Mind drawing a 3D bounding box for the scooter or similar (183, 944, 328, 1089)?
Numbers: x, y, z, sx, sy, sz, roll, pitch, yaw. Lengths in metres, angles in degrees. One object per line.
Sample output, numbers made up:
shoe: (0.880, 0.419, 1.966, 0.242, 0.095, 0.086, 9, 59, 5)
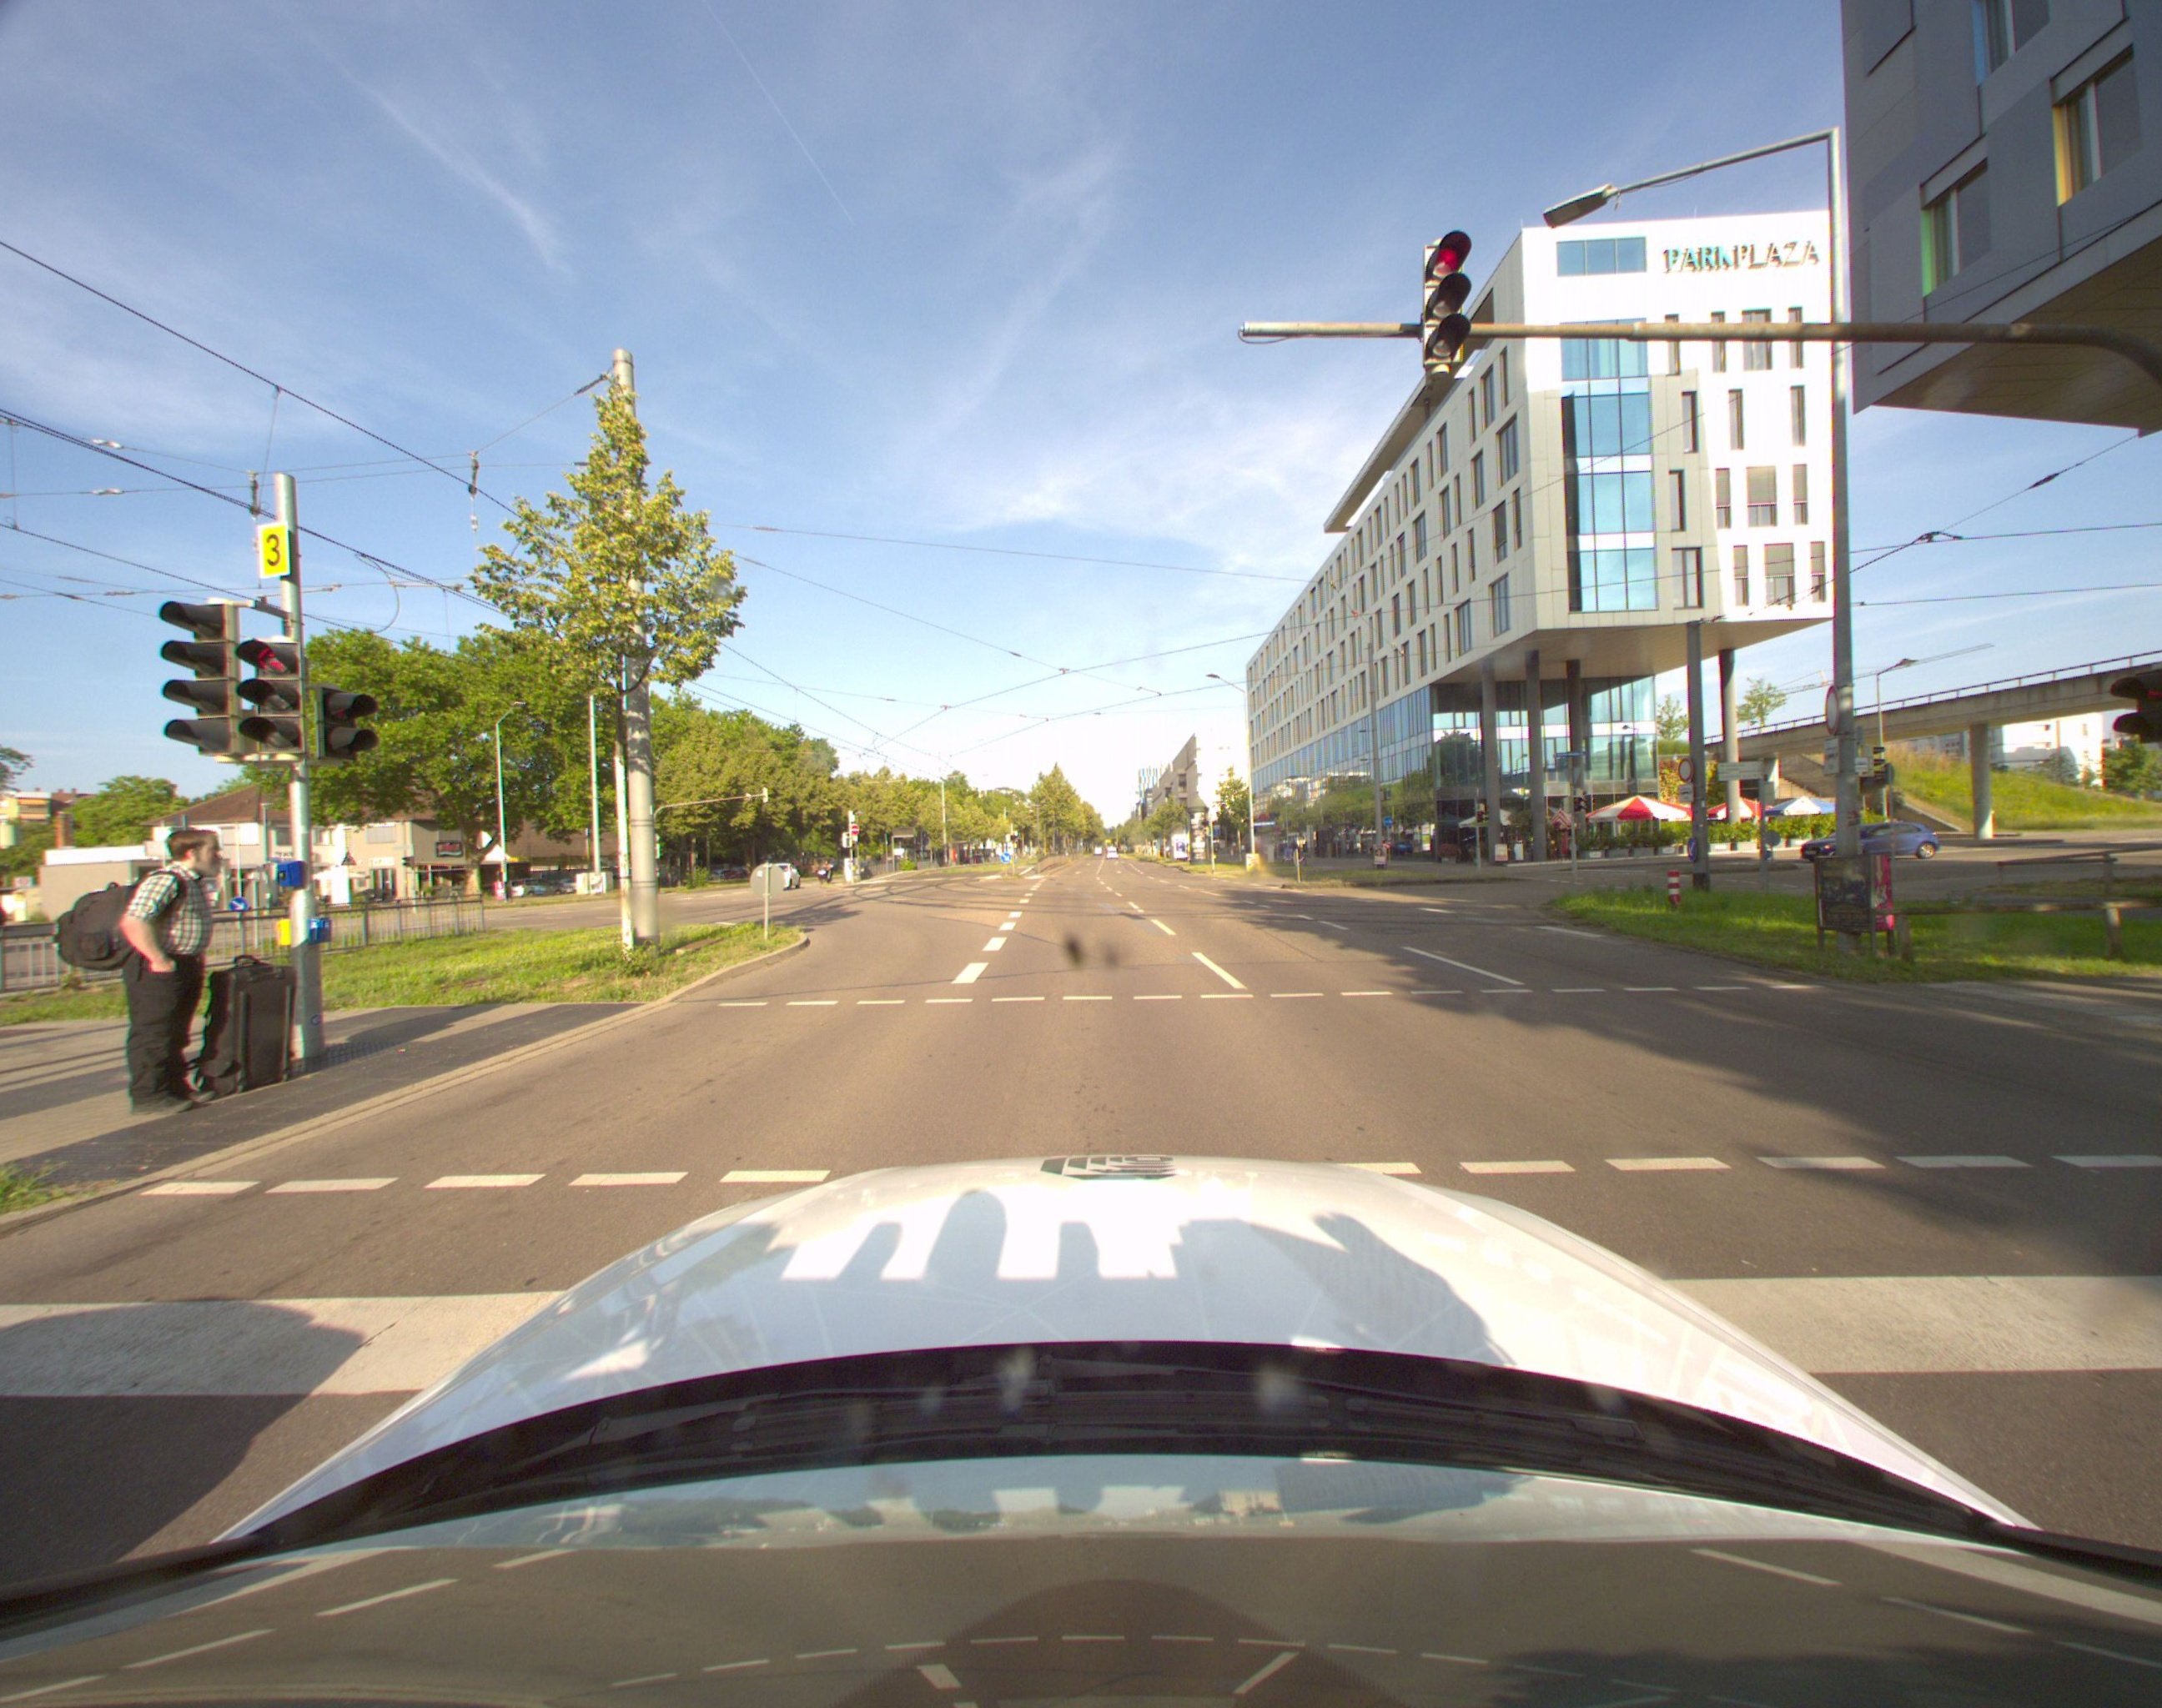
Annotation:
scooter or similar: (-5.660, 1.098, 5.605, 0.546, 0.907, 0.430, -1, 0, 2)

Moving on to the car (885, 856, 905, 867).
car: (-29.710, 1.166, 130.089, 1.871, 1.559, 4.008, -2, 0, 7)

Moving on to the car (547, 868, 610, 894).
car: (-37.714, 1.997, 61.273, 1.871, 1.750, 4.008, -2, 0, 7)

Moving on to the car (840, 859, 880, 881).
car: (-17.224, 1.223, 63.740, 1.723, 1.461, 4.576, -4, 0, 1)

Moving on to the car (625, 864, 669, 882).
car: (-43.786, 1.894, 82.232, 1.871, 1.559, 4.008, -2, 0, 7)

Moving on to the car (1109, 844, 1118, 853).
car: (6.496, -1.165, 162.911, 1.857, 1.684, 4.003, 0, 1, 2)

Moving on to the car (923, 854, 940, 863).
car: (-27.551, 0.853, 150.476, 1.871, 1.559, 4.008, -2, 0, 7)

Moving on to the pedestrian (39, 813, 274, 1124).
pedestrian: (-5.667, 0.663, 5.030, 0.697, 1.792, 0.636, -1, 0, 2)

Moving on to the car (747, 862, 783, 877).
car: (-34.751, 1.695, 89.671, 1.871, 1.559, 4.008, -2, 0, 7)

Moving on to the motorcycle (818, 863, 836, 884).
motorcycle: (-16.729, 1.285, 53.677, 0.819, 1.263, 2.539, -1, 1, -12)

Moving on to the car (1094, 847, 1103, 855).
car: (4.142, -0.705, 195.021, 2.007, 1.684, 4.003, 0, 1, 2)

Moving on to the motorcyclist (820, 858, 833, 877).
motorcyclist: (-16.705, 0.900, 53.476, 0.783, 1.202, 0.844, 0, 1, -12)

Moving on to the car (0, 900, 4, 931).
car: (-63.533, 3.581, 45.715, 3.964, 1.728, 2.005, -2, 0, 8)

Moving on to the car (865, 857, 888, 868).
car: (-30.674, 1.280, 122.184, 1.871, 1.559, 4.008, -2, 0, 7)

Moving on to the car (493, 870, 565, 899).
car: (-38.231, 2.064, 56.523, 1.871, 1.750, 4.008, -2, 0, 7)

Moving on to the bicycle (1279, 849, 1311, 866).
bicycle: (13.899, 0.221, 52.904, 0.778, 1.032, 1.856, -2, 2, -42)

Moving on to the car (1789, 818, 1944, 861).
car: (30.235, -0.552, 31.447, 4.170, 1.424, 1.859, -3, 1, 1)

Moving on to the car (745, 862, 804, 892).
car: (-16.833, 1.258, 44.897, 1.991, 1.504, 4.084, -2, -1, -6)

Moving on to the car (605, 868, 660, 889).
car: (-37.025, 2.007, 67.316, 1.871, 1.559, 4.008, -2, 0, 7)

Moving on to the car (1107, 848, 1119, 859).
car: (4.990, -0.047, 127.873, 1.857, 1.684, 4.003, 0, 1, 2)

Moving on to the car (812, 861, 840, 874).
car: (-32.775, 1.694, 104.661, 1.871, 1.559, 4.008, -2, 0, 7)
